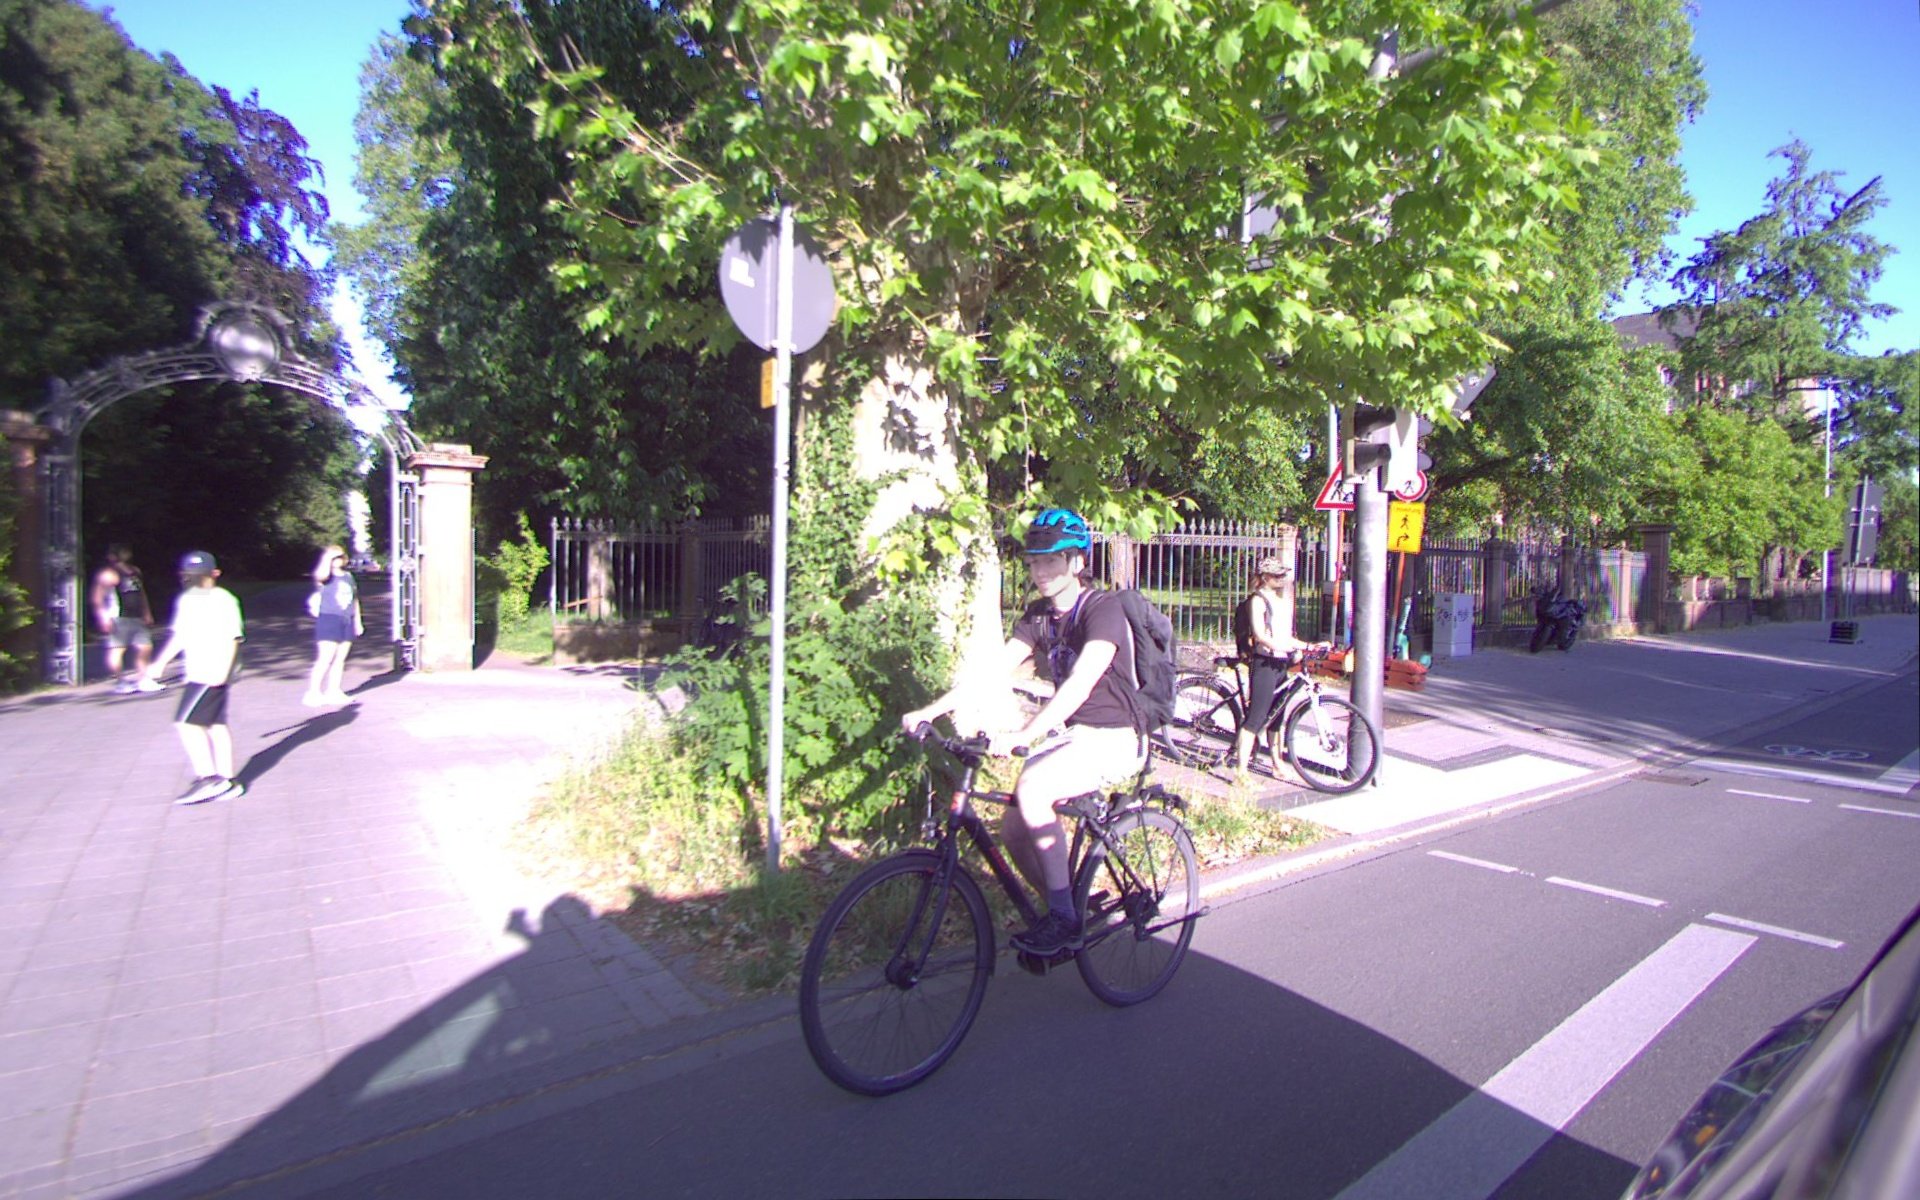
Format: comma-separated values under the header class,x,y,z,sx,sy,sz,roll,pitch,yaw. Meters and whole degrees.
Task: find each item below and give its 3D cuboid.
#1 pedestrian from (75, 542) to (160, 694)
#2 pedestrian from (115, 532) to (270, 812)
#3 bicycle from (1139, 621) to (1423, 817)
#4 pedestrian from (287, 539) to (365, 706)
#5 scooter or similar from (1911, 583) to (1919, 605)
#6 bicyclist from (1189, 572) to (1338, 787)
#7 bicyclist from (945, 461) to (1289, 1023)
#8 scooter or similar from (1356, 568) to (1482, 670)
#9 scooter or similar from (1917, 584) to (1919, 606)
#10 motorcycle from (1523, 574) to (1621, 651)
class,x,y,z,sx,sy,sz,roll,pitch,yaw
pedestrian,-9.944,0.202,11.972,0.667,1.733,0.693,0,0,-31
pedestrian,-4.599,0.388,6.114,0.667,1.565,0.693,0,2,-31
bicycle,2.252,0.769,7.399,0.682,1.109,1.993,0,2,-33
pedestrian,-6.540,0.207,10.466,0.667,1.653,0.693,0,2,-31
scooter or similar,45.963,-0.293,48.433,1.748,1.054,0.416,-1,0,-40
bicyclist,2.217,0.533,7.440,0.682,1.465,0.767,0,2,-33
bicyclist,0.514,0.368,3.286,0.877,1.520,0.694,-1,2,-43
scooter or similar,6.382,0.223,14.035,1.804,1.269,0.794,-1,6,-40
scooter or similar,47.620,-0.238,49.928,1.748,1.054,0.416,-1,0,-40
motorcycle,11.168,0.192,18.453,2.002,1.309,0.906,-1,2,-40
